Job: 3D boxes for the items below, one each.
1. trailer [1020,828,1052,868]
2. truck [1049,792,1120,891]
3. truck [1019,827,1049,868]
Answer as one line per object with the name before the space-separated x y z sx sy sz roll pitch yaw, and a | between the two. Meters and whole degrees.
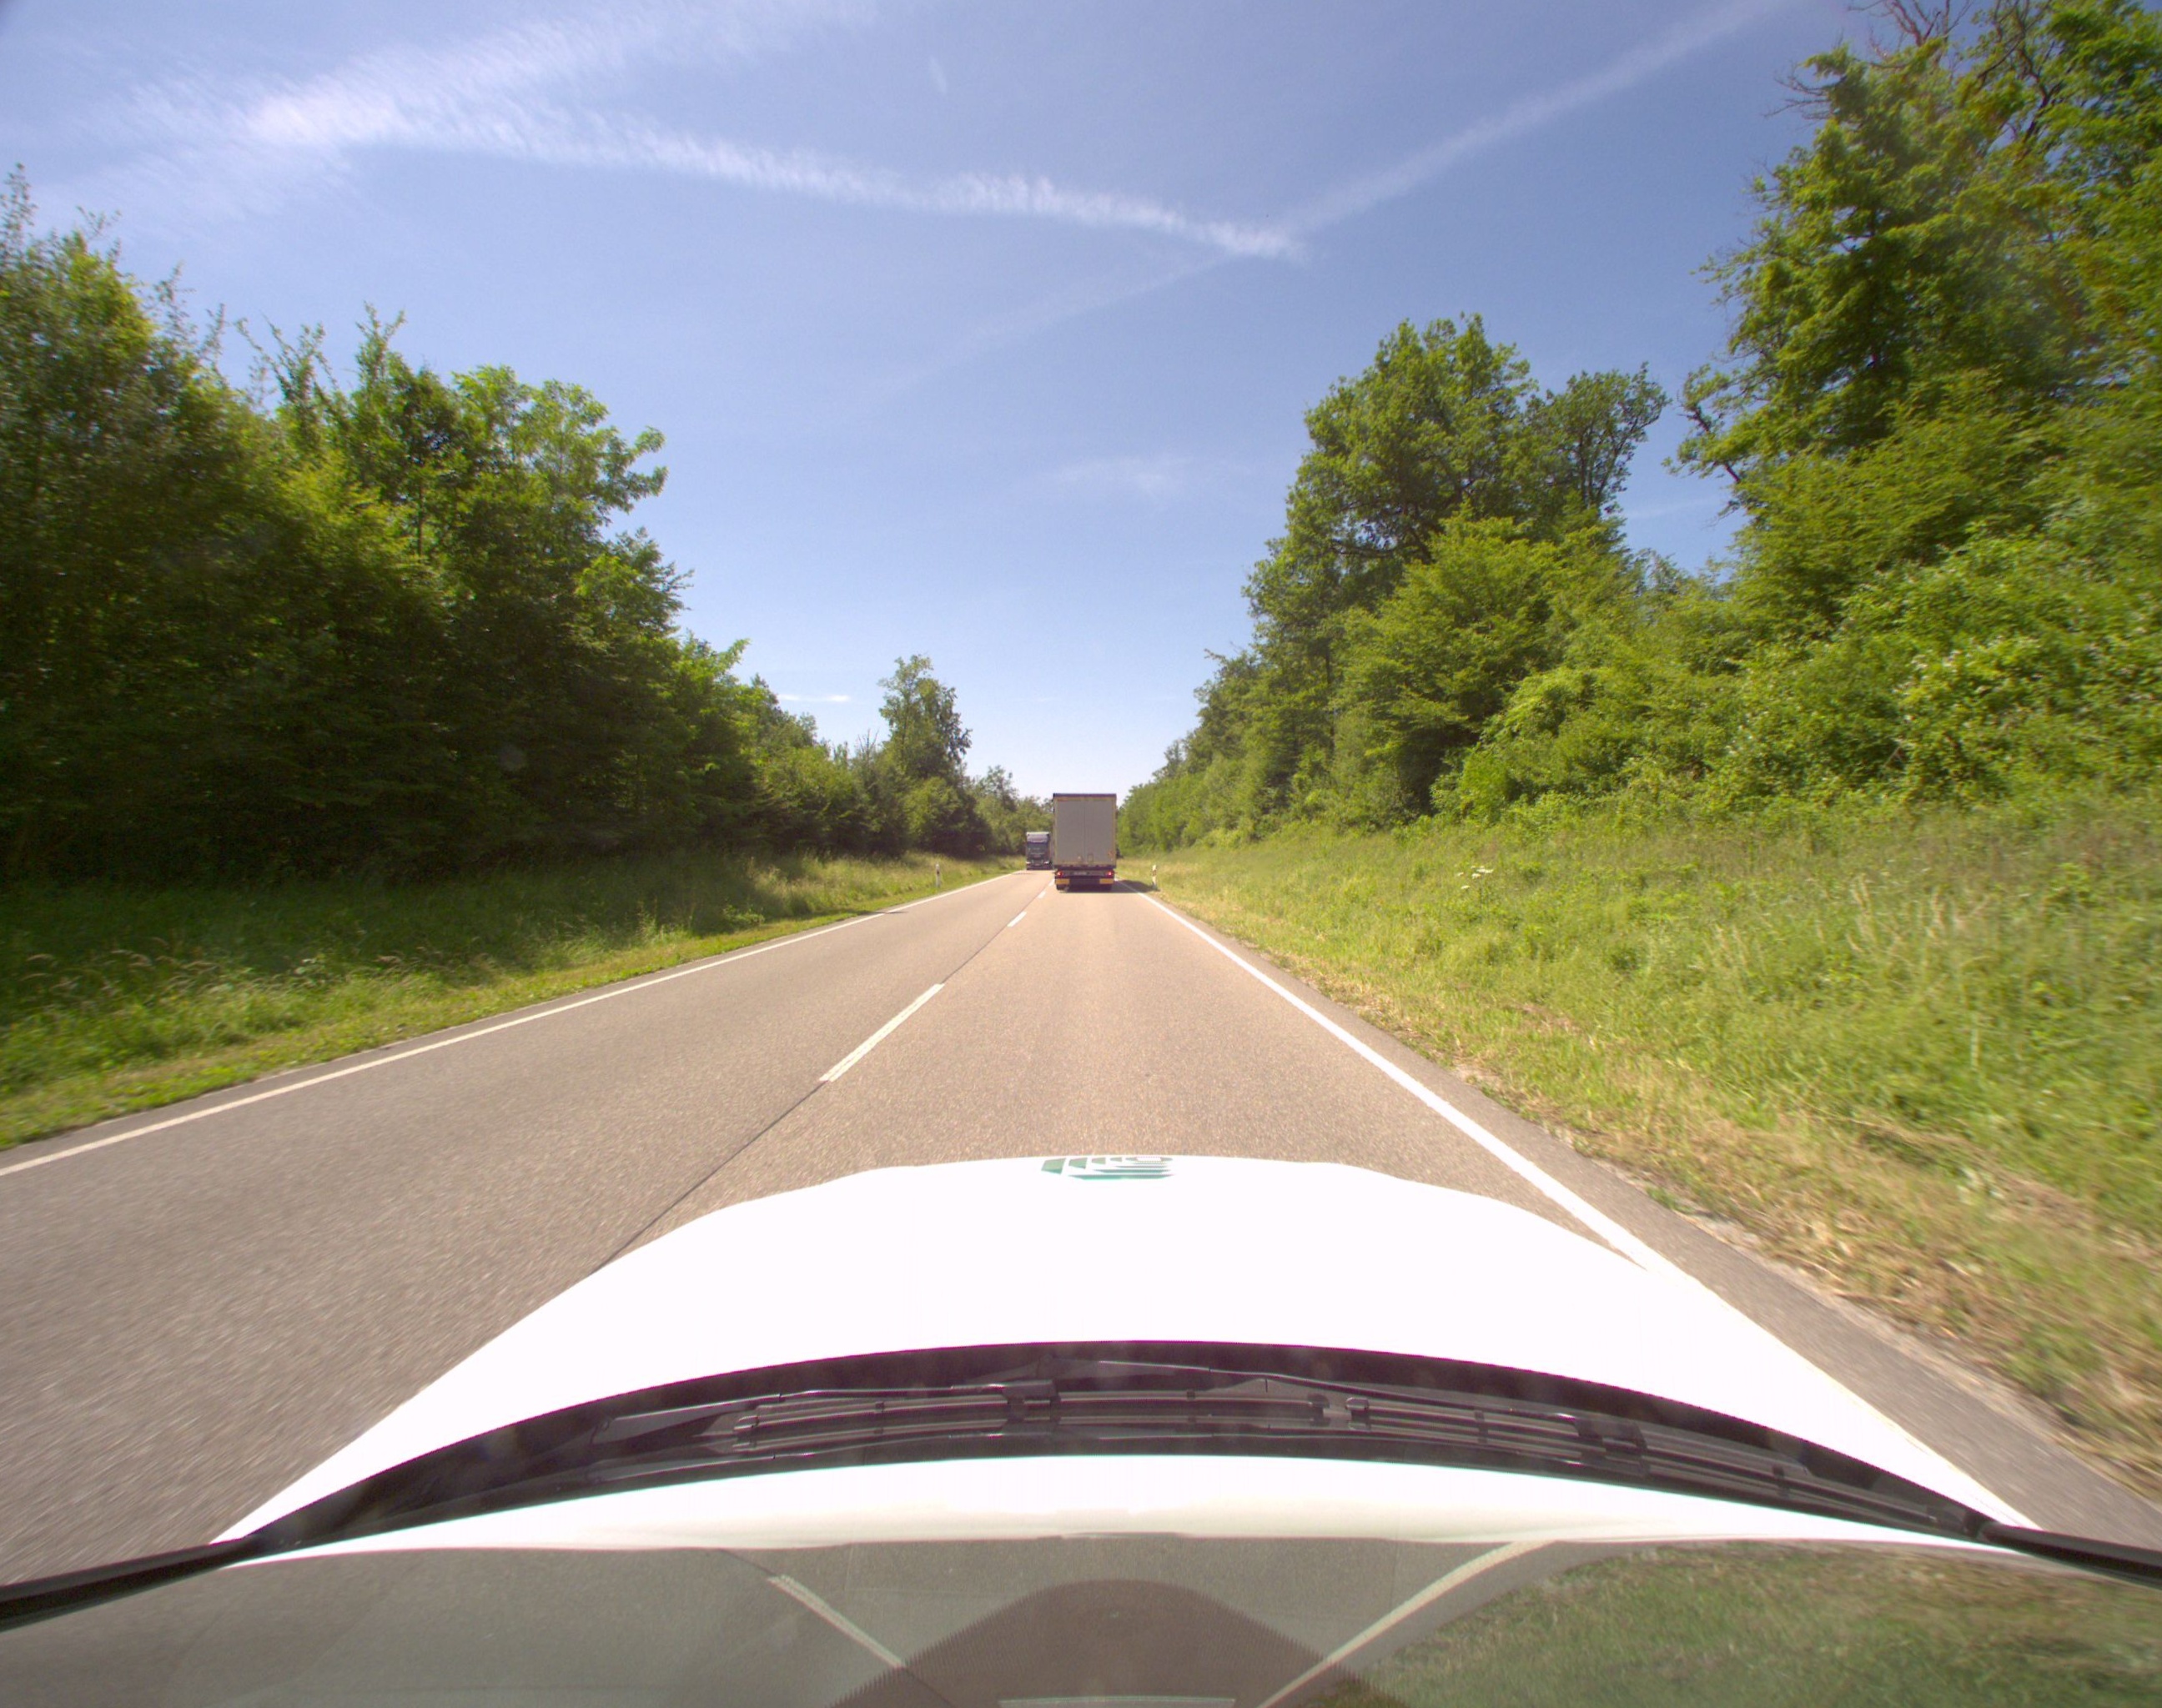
trailer | -5.122 -0.686 95.238 2.933 4.252 13.615 -1 0 -1
truck | 0.128 -0.522 38.608 2.752 3.947 12.195 -1 0 0
truck | -5.055 -0.675 87.902 2.914 4.216 5.341 -1 0 -1
